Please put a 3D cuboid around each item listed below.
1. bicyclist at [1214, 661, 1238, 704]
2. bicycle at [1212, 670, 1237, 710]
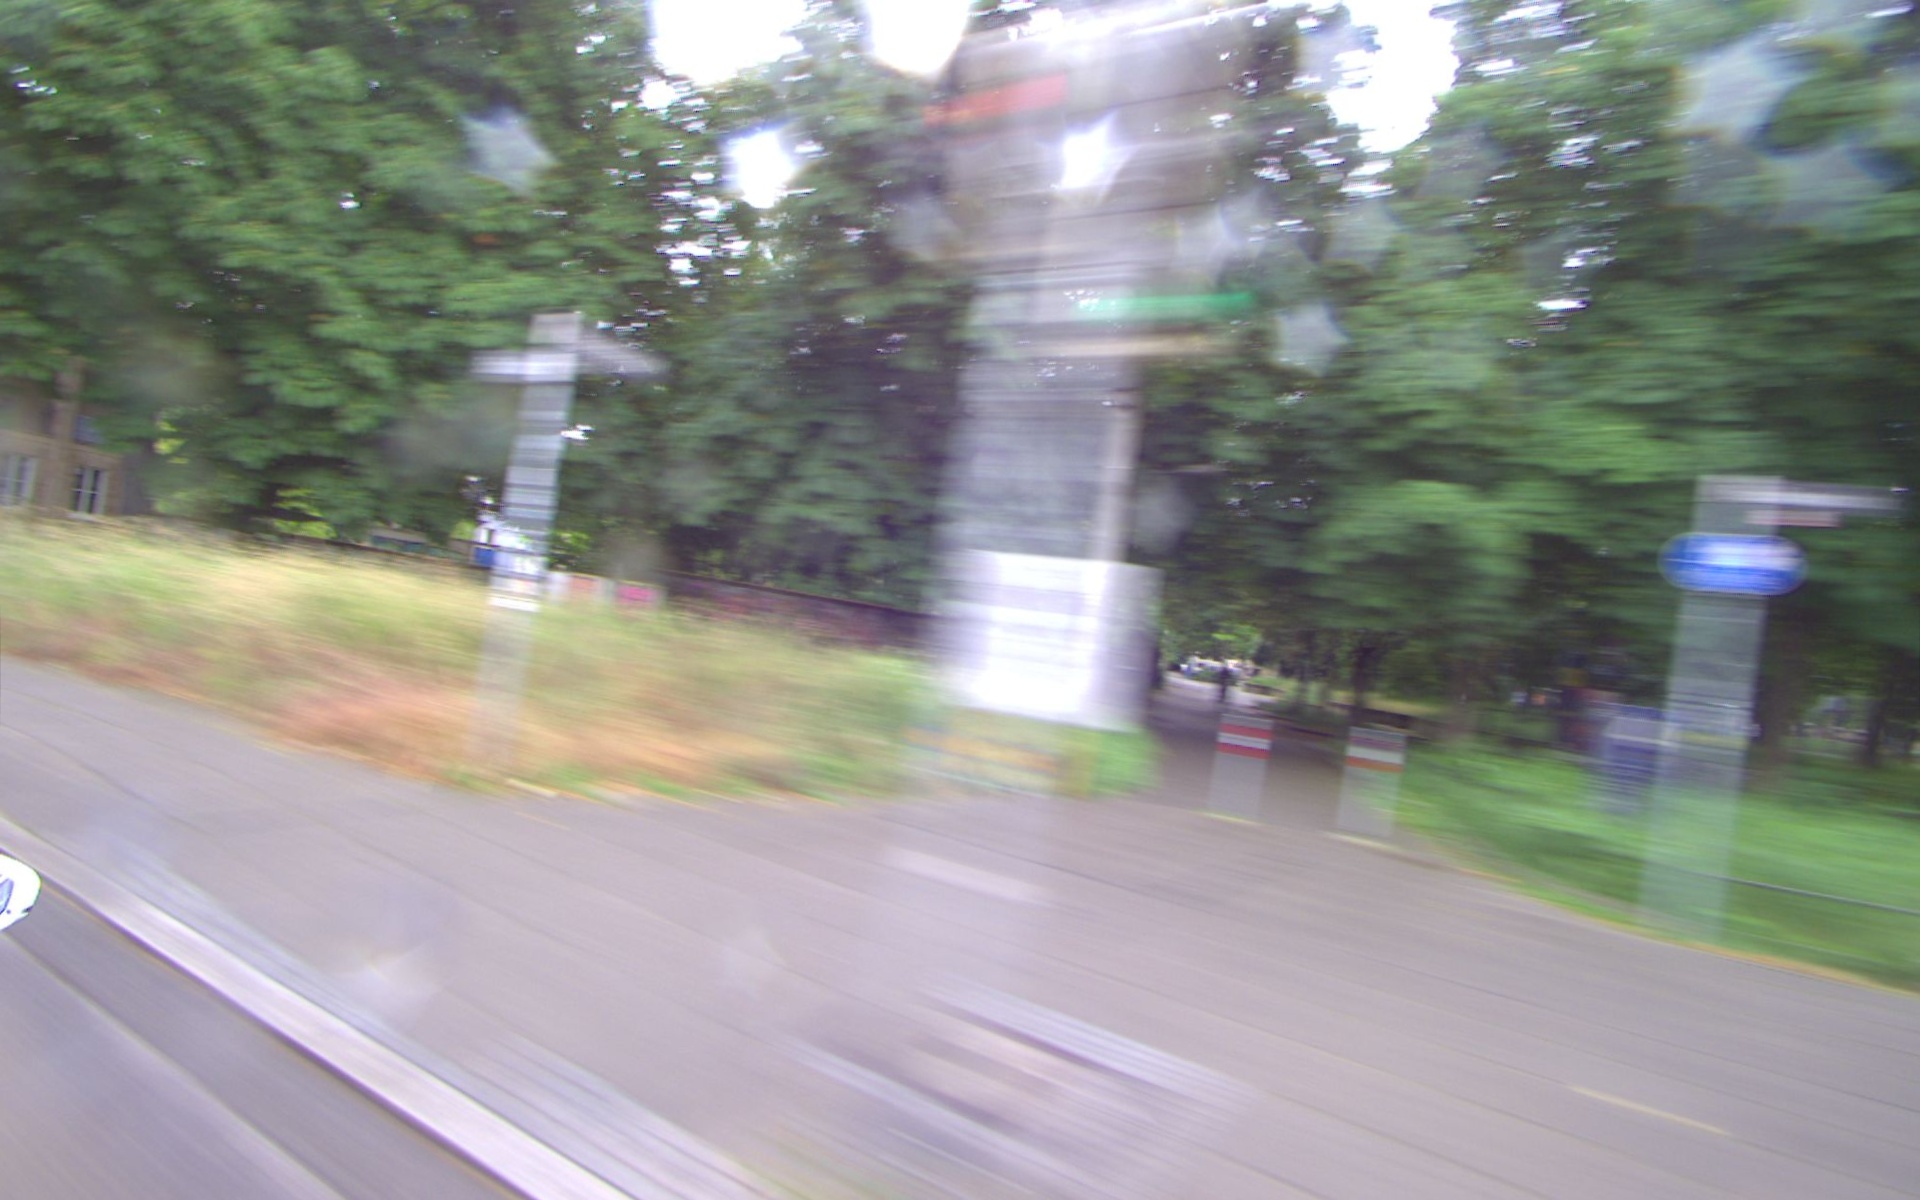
[{"bbox_3d":[8.660,2.673,32.777,0.583,1.310,0.801,7,-1,14],"label":"bicyclist"},{"bbox_3d":[8.504,2.882,32.386,0.614,1.154,1.713,7,-1,14],"label":"bicycle"}]
